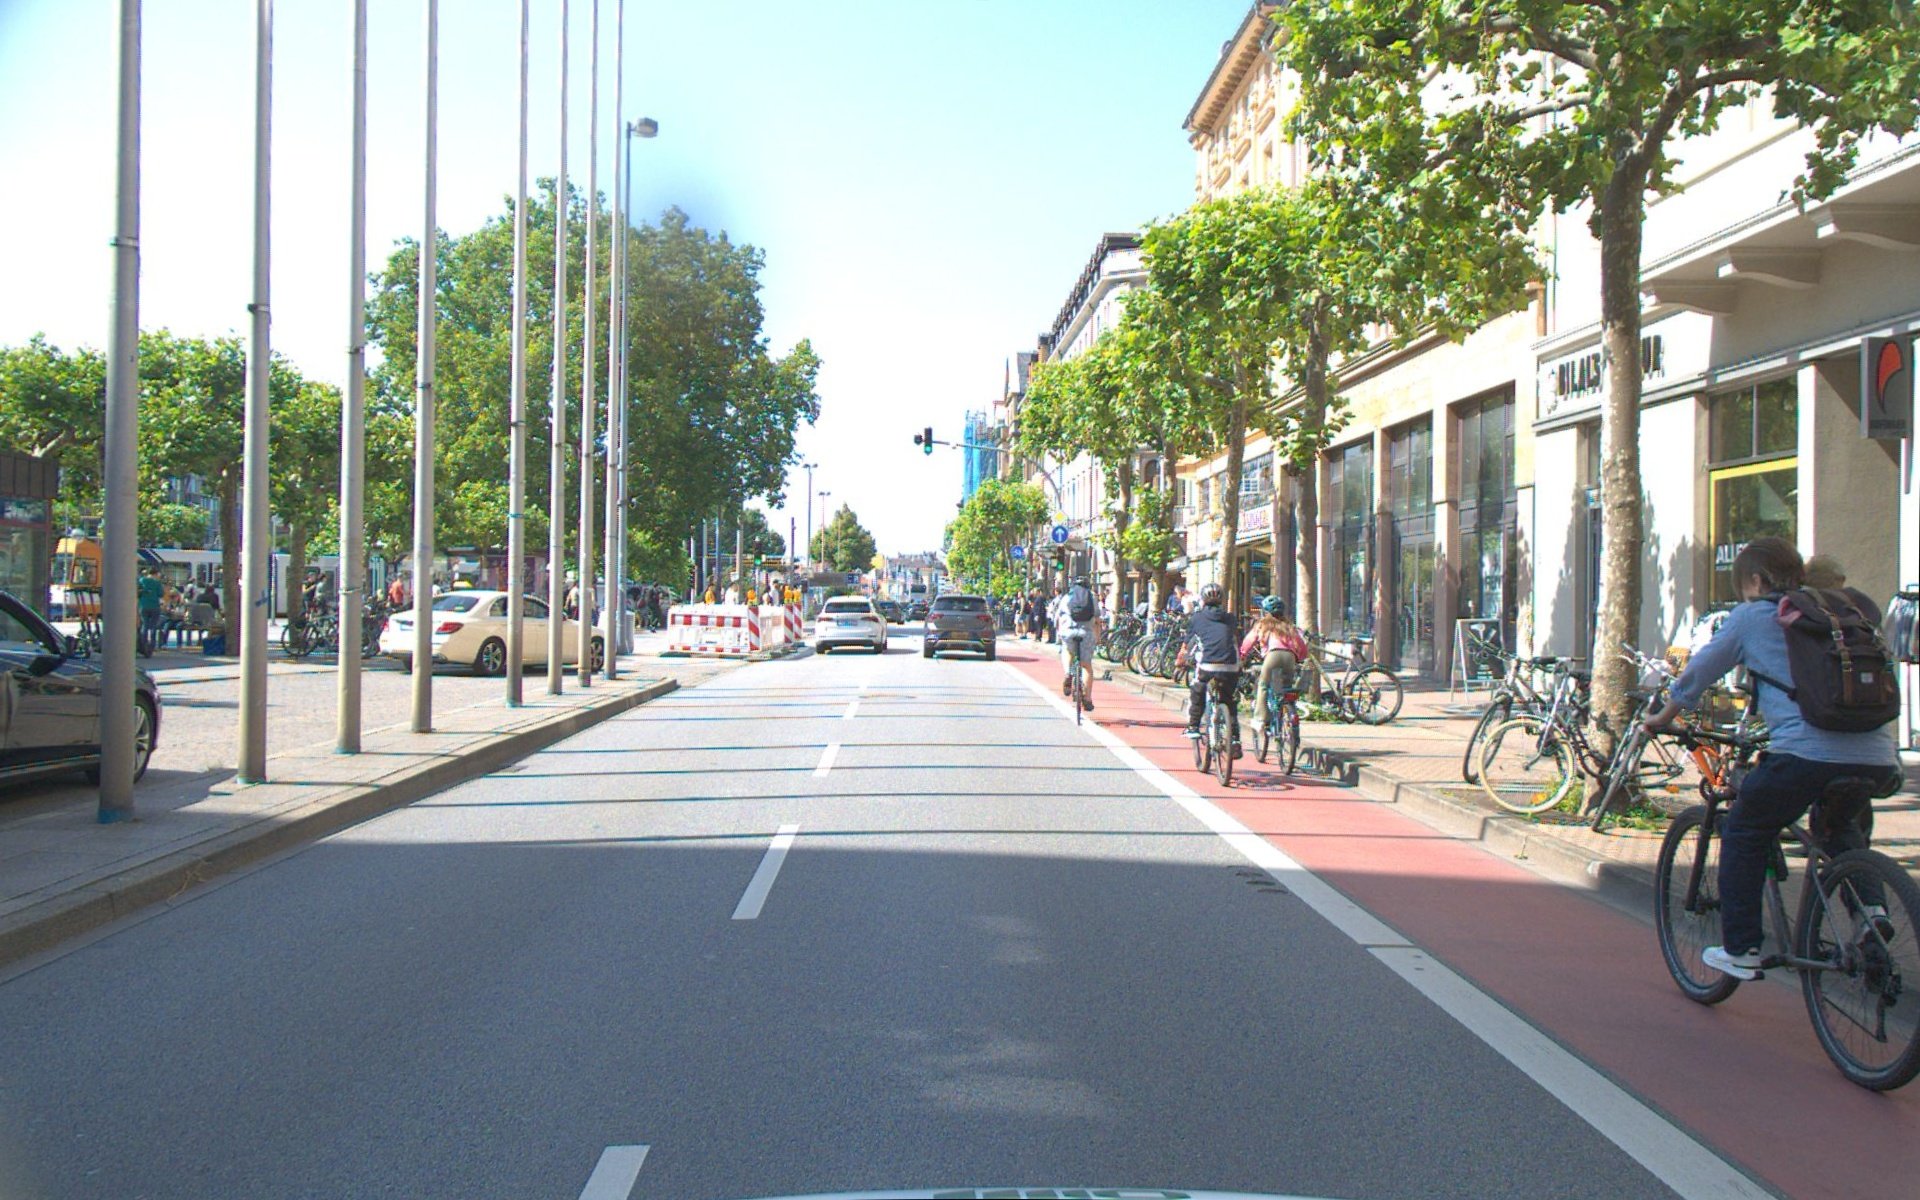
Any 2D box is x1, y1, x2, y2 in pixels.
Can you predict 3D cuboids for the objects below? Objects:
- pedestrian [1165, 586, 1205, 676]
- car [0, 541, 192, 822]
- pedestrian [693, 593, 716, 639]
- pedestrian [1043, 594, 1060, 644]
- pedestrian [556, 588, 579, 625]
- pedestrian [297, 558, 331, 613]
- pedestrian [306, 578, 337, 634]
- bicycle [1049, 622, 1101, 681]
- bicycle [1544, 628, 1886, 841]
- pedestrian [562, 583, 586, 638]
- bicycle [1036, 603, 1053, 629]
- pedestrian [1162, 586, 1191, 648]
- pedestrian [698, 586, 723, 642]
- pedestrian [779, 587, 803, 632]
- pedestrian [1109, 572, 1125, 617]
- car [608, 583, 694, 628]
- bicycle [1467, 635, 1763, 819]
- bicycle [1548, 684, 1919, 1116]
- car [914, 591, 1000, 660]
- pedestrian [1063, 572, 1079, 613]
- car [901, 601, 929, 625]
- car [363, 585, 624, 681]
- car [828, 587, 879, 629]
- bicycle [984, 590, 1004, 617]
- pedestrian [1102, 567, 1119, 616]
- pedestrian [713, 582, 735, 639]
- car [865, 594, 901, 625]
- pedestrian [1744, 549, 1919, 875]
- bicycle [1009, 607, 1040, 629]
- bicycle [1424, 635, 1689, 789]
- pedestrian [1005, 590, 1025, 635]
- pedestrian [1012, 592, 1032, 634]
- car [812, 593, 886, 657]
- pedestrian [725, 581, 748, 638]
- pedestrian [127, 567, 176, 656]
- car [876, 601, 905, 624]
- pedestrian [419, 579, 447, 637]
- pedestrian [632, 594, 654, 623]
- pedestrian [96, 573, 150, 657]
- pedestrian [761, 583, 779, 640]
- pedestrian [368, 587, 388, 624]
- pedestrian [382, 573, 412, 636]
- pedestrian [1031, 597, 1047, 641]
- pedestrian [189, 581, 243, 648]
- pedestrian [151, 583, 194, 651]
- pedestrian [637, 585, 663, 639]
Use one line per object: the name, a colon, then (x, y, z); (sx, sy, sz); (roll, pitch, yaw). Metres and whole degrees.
pedestrian: (4.175, 0.573, 30.701); (0.602, 1.640, 0.744); (1, 0, -1)
car: (-6.431, 0.457, 9.804); (1.726, 1.628, 4.707); (1, 0, -3)
pedestrian: (-10.207, 0.638, 66.042); (0.619, 1.842, 0.731); (0, -1, 19)
pedestrian: (3.065, 0.645, 55.617); (0.537, 1.659, 0.589); (-1, -1, 1)
pedestrian: (-16.105, 0.250, 67.894); (0.619, 1.504, 0.731); (0, -1, 19)
pedestrian: (-20.987, -0.465, 53.739); (0.593, 1.780, 0.802); (1, -1, 29)
pedestrian: (-18.155, 0.166, 47.057); (0.564, 1.559, 0.606); (2, -1, 4)
bicycle: (2.171, 0.959, 31.561); (0.759, 1.023, 2.329); (0, 0, -2)
bicycle: (4.671, 0.812, 10.327); (1.801, 1.218, 0.674); (1, 0, 5)
pedestrian: (-12.494, 0.333, 53.559); (0.572, 1.752, 0.789); (1, 0, 0)
bicycle: (3.876, 0.735, 75.831); (0.391, 1.133, 1.426); (0, 1, 19)
pedestrian: (6.449, 0.509, 49.283); (0.644, 1.821, 1.232); (1, -2, -2)
pedestrian: (-7.953, 0.452, 52.704); (0.534, 1.748, 0.599); (2, -1, -33)
pedestrian: (-6.196, 0.337, 60.525); (0.619, 1.623, 0.687); (0, -1, 19)
pedestrian: (5.809, -0.199, 61.136); (0.512, 1.637, 0.641); (-1, -1, -2)
car: (-14.366, 0.275, 77.092); (1.820, 1.989, 4.762); (1, -1, 19)
bicycle: (4.474, 0.850, 11.386); (1.801, 1.146, 0.498); (2, 0, 9)
bicycle: (2.894, 0.935, 5.872); (0.685, 1.146, 2.079); (2, 0, -5)
car: (-0.124, 0.600, 40.953); (1.809, 1.586, 3.997); (1, 0, -4)
pedestrian: (5.003, -0.317, 74.420); (0.662, 1.823, 0.611); (1, -1, -2)
car: (-3.482, 1.014, 127.324); (1.809, 1.697, 3.996); (2, 0, -5)
car: (-8.409, 0.590, 30.321); (1.854, 1.569, 4.858); (2, 0, 25)
car: (-3.887, 0.272, 60.881); (1.809, 1.474, 3.998); (0, 0, -3)
bicycle: (1.285, 0.132, 62.664); (0.634, 1.015, 2.030); (1, 0, -2)
pedestrian: (5.182, -0.293, 57.047); (0.537, 1.669, 0.589); (-1, -1, 1)
pedestrian: (-7.643, 0.349, 53.489); (0.528, 1.811, 0.606); (2, -1, 4)
car: (-4.074, 0.514, 87.797); (1.808, 1.587, 3.998); (1, 0, -3)
pedestrian: (4.982, 0.598, 9.287); (0.626, 1.718, 0.843); (3, 0, -4)
bicycle: (3.007, 0.812, 76.851); (1.391, 0.997, 0.445); (-1, 1, -1)
bicycle: (4.671, 0.863, 13.049); (1.801, 1.116, 0.794); (1, 0, 3)
pedestrian: (2.196, 0.504, 66.144); (0.598, 1.770, 0.677); (-3, 0, -4)
pedestrian: (2.377, 0.492, 63.195); (0.598, 1.541, 0.677); (-3, 0, -4)
car: (-2.913, 0.627, 43.983); (1.808, 1.587, 3.999); (0, 0, -2)
pedestrian: (-7.077, 0.292, 52.360); (0.425, 1.770, 0.599); (2, -1, -33)
pedestrian: (-15.807, 0.229, 32.337); (0.659, 1.707, 0.686); (1, 0, -10)
car: (-4.434, 0.785, 105.275); (1.808, 1.438, 3.998); (1, 0, -3)
pedestrian: (-16.219, 0.252, 50.886); (0.564, 1.769, 0.606); (2, -1, 4)
pedestrian: (-12.967, 0.346, 67.566); (0.619, 1.164, 0.665); (1, -1, 19)
pedestrian: (-16.537, 0.300, 32.690); (0.790, 1.634, 0.670); (1, 0, -15)
pedestrian: (-6.529, 0.401, 56.874); (0.521, 1.953, 0.560); (1, -1, 0)
pedestrian: (-20.306, 0.182, 57.722); (0.601, 1.284, 0.608); (1, 0, -24)
pedestrian: (-17.337, 0.137, 50.916); (0.656, 1.912, 0.623); (3, -1, -37)
pedestrian: (2.761, 0.663, 57.996); (0.512, 1.548, 0.641); (-1, -1, 1)
pedestrian: (-15.917, 0.304, 35.417); (0.657, 1.405, 0.898); (1, 0, 7)
pedestrian: (-15.710, 0.341, 33.015); (0.661, 1.332, 0.683); (1, 0, -19)
pedestrian: (-10.891, 0.424, 58.109); (0.619, 1.891, 0.687); (0, -1, 19)
